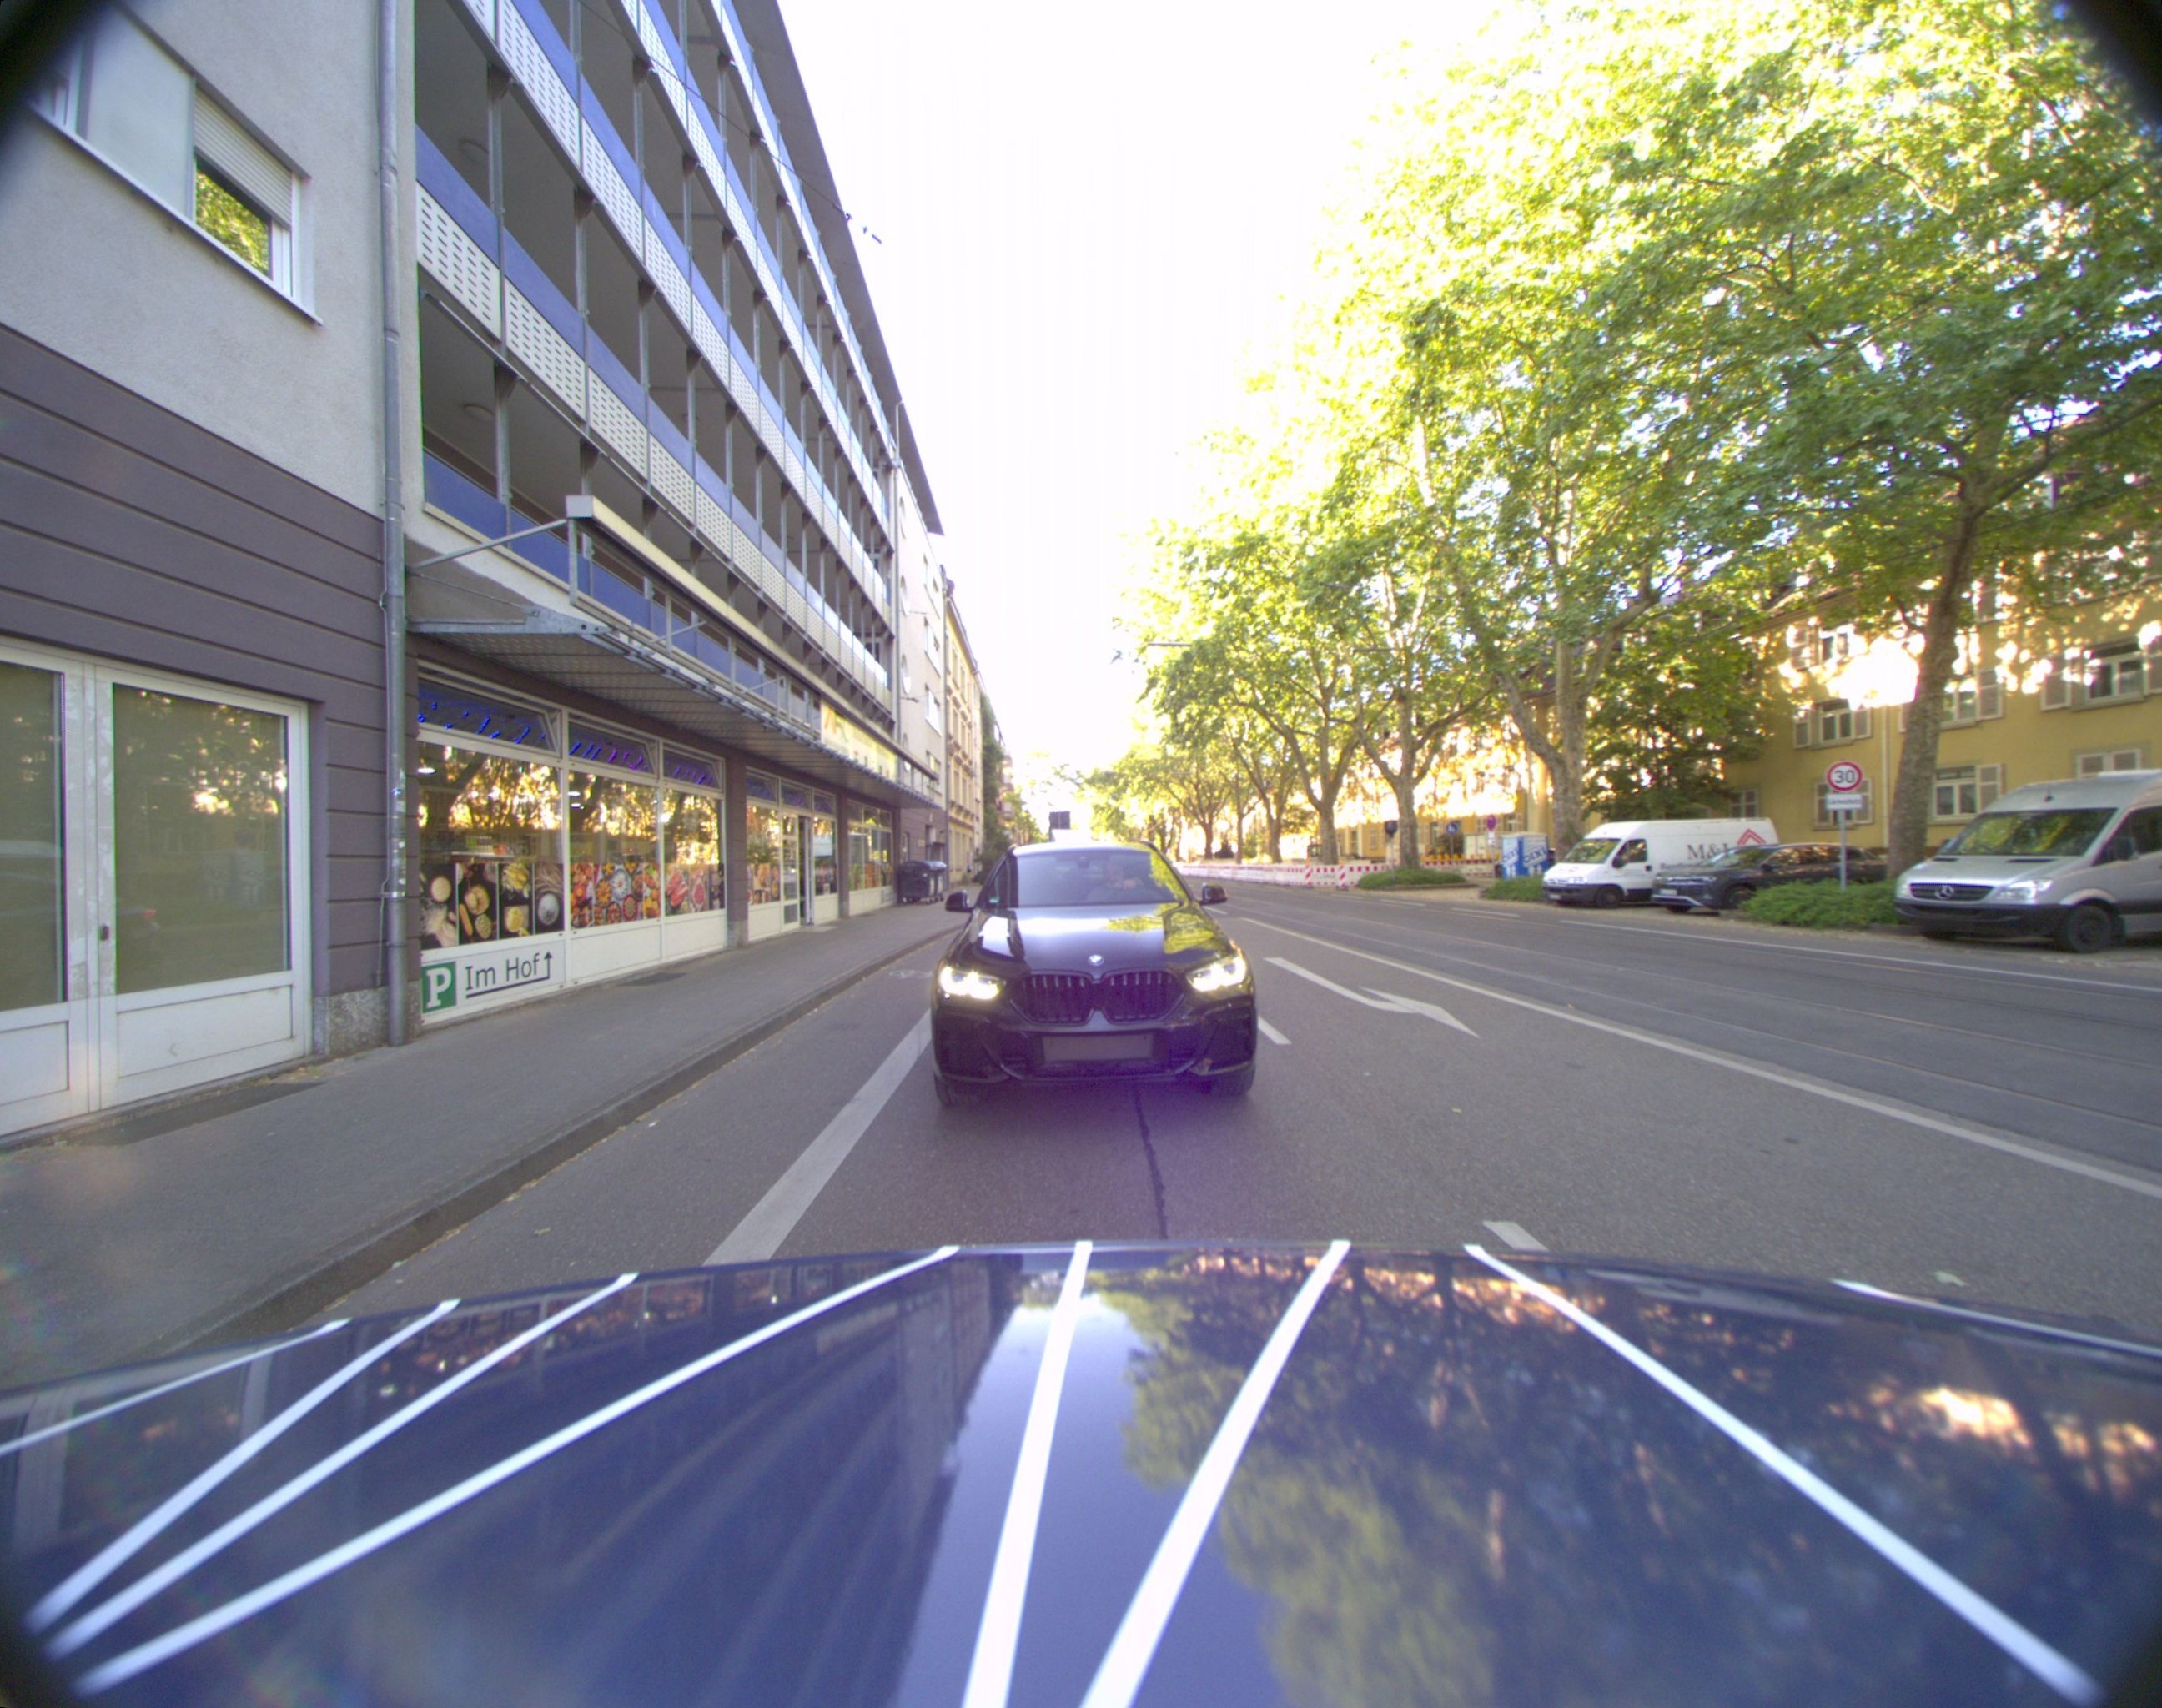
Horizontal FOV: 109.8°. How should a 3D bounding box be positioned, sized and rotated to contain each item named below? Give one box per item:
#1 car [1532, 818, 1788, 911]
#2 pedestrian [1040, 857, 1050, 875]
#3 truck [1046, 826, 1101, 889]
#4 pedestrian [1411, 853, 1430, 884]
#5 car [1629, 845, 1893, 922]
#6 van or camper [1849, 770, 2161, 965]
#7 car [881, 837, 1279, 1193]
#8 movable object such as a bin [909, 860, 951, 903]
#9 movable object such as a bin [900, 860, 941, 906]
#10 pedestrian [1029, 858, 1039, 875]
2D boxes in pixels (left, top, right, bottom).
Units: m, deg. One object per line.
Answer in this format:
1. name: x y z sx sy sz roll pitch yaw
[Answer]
1. car: 15.851 0.275 21.008 5.612 2.361 2.025 -1 0 -2
2. pedestrian: -3.728 1.239 78.873 0.876 1.728 0.848 -3 1 1
3. truck: -0.576 0.202 43.165 2.385 3.165 8.525 2 0 -5
4. pedestrian: 17.330 0.719 38.823 0.715 1.563 0.598 -1 0 41
5. car: 15.940 0.657 17.982 4.575 1.621 1.969 -1 0 -2
6. van or camper: 16.089 0.128 11.809 6.127 2.661 2.229 -2 0 -2
7. car: 0.020 0.824 6.067 1.943 1.733 4.475 -2 0 1
8. movable object such as a bin: -5.287 0.953 26.716 1.122 1.437 1.306 -1 0 4
9. movable object such as a bin: -5.228 0.933 24.820 1.069 1.438 1.296 -1 0 -1
10. pedestrian: -4.816 1.299 78.265 0.876 1.728 0.848 -3 1 3
